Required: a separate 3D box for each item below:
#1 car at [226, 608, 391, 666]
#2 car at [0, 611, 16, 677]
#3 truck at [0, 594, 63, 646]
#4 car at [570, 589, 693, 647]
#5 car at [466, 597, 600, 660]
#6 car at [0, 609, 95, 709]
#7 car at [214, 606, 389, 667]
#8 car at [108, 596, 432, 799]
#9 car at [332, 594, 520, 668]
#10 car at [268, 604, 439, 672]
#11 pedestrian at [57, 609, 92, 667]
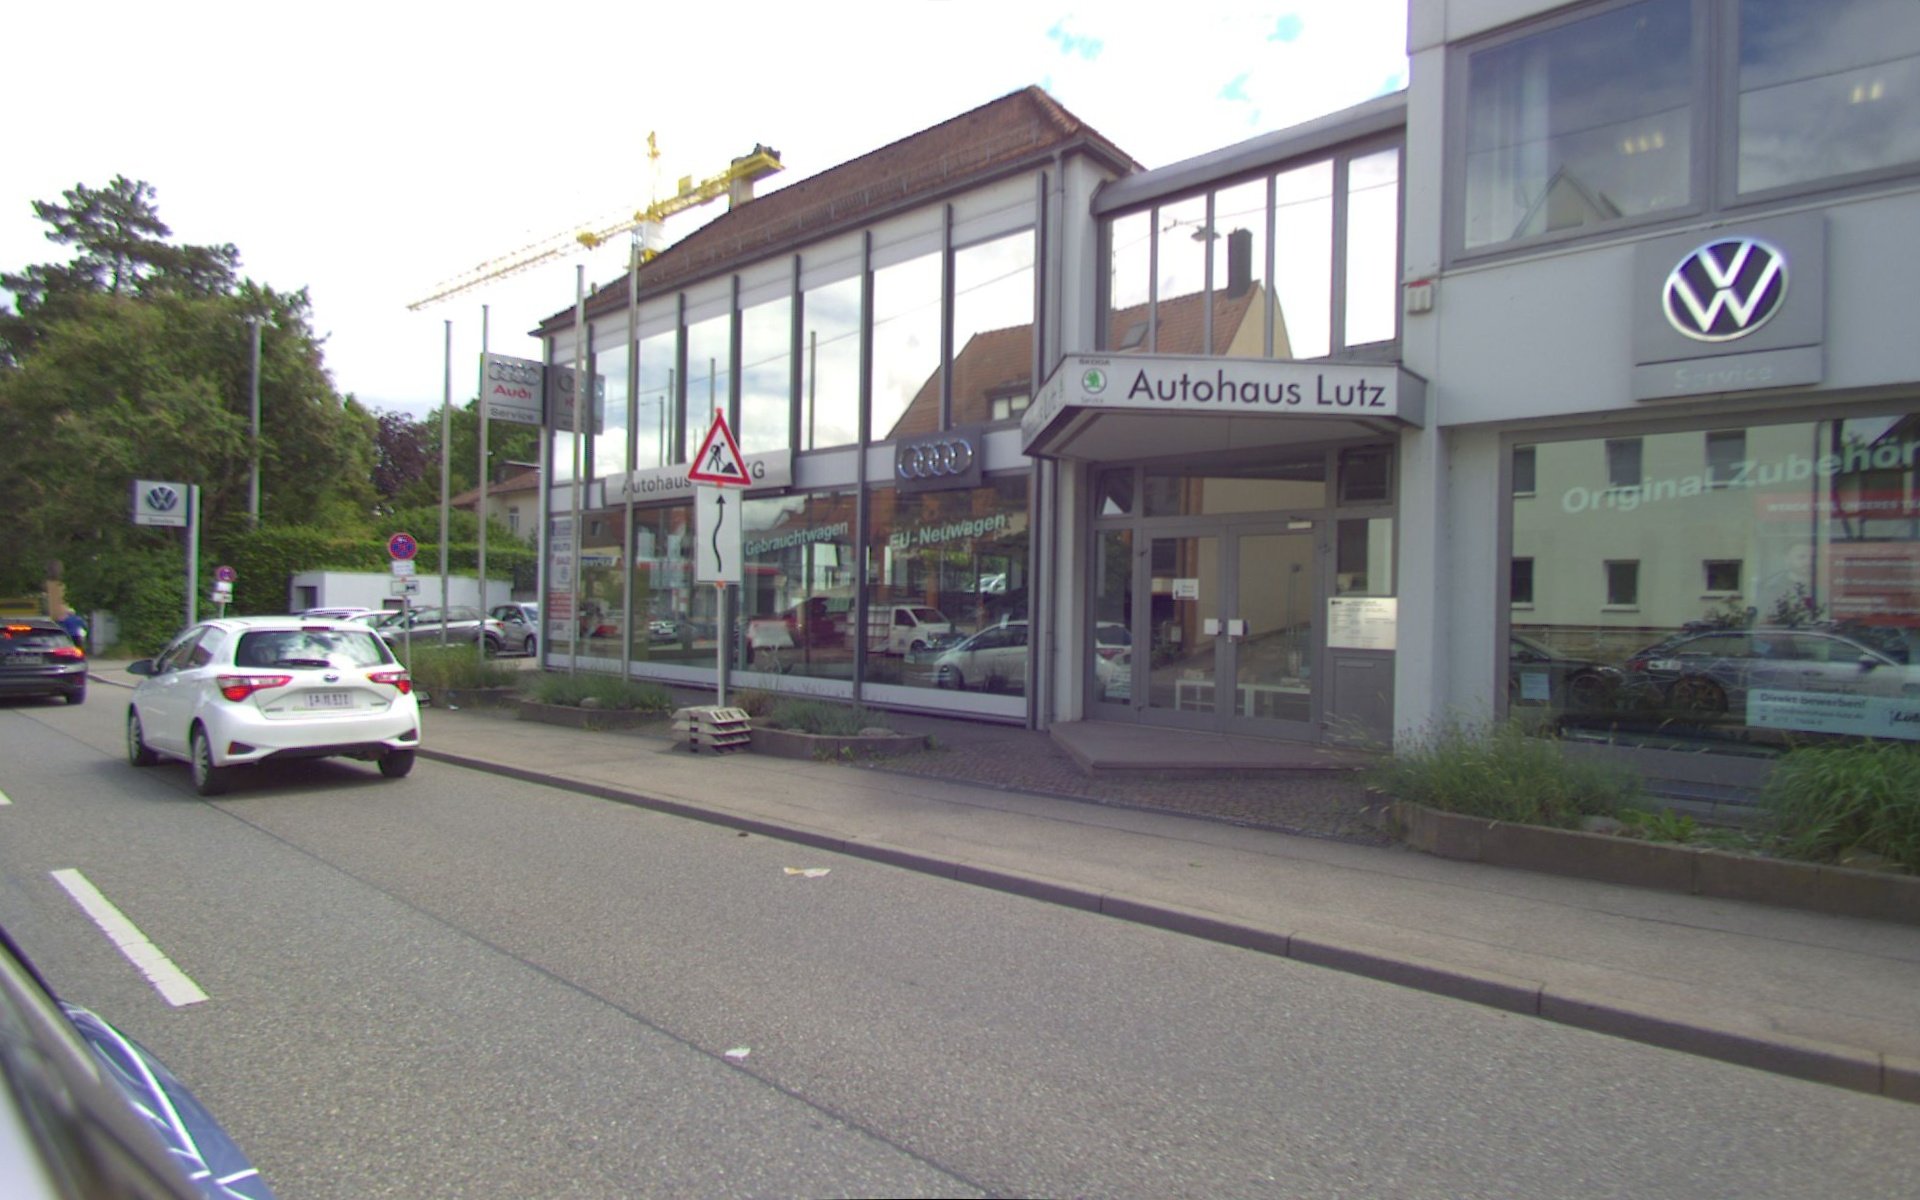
[{"bbox_3d":[-18.874,1.029,29.416,1.727,1.530,3.703,-1,-1,39],"label":"car"},{"bbox_3d":[-26.120,1.136,26.355,4.318,1.642,1.812,-1,-1,41],"label":"car"},{"bbox_3d":[-47.888,0.970,51.805,6.093,2.438,2.281,1,2,42],"label":"truck"},{"bbox_3d":[-10.079,0.569,30.931,3.801,1.596,1.788,-2,2,41],"label":"car"},{"bbox_3d":[-12.460,0.827,29.412,4.325,1.596,1.788,-2,2,41],"label":"car"},{"bbox_3d":[-16.607,0.946,17.532,4.167,1.535,1.813,0,0,40],"label":"car"},{"bbox_3d":[-20.629,1.096,31.847,1.903,1.653,4.245,-1,1,41],"label":"car"},{"bbox_3d":[-6.818,0.763,9.856,3.797,1.591,1.672,0,0,40],"label":"car"},{"bbox_3d":[-13.839,0.748,26.421,1.652,1.642,3.974,-1,2,39],"label":"car"},{"bbox_3d":[-16.606,0.984,27.843,1.533,1.572,3.703,-1,2,39],"label":"car"},{"bbox_3d":[-27.620,1.179,31.550,0.868,1.750,0.676,0,1,41],"label":"pedestrian"}]
